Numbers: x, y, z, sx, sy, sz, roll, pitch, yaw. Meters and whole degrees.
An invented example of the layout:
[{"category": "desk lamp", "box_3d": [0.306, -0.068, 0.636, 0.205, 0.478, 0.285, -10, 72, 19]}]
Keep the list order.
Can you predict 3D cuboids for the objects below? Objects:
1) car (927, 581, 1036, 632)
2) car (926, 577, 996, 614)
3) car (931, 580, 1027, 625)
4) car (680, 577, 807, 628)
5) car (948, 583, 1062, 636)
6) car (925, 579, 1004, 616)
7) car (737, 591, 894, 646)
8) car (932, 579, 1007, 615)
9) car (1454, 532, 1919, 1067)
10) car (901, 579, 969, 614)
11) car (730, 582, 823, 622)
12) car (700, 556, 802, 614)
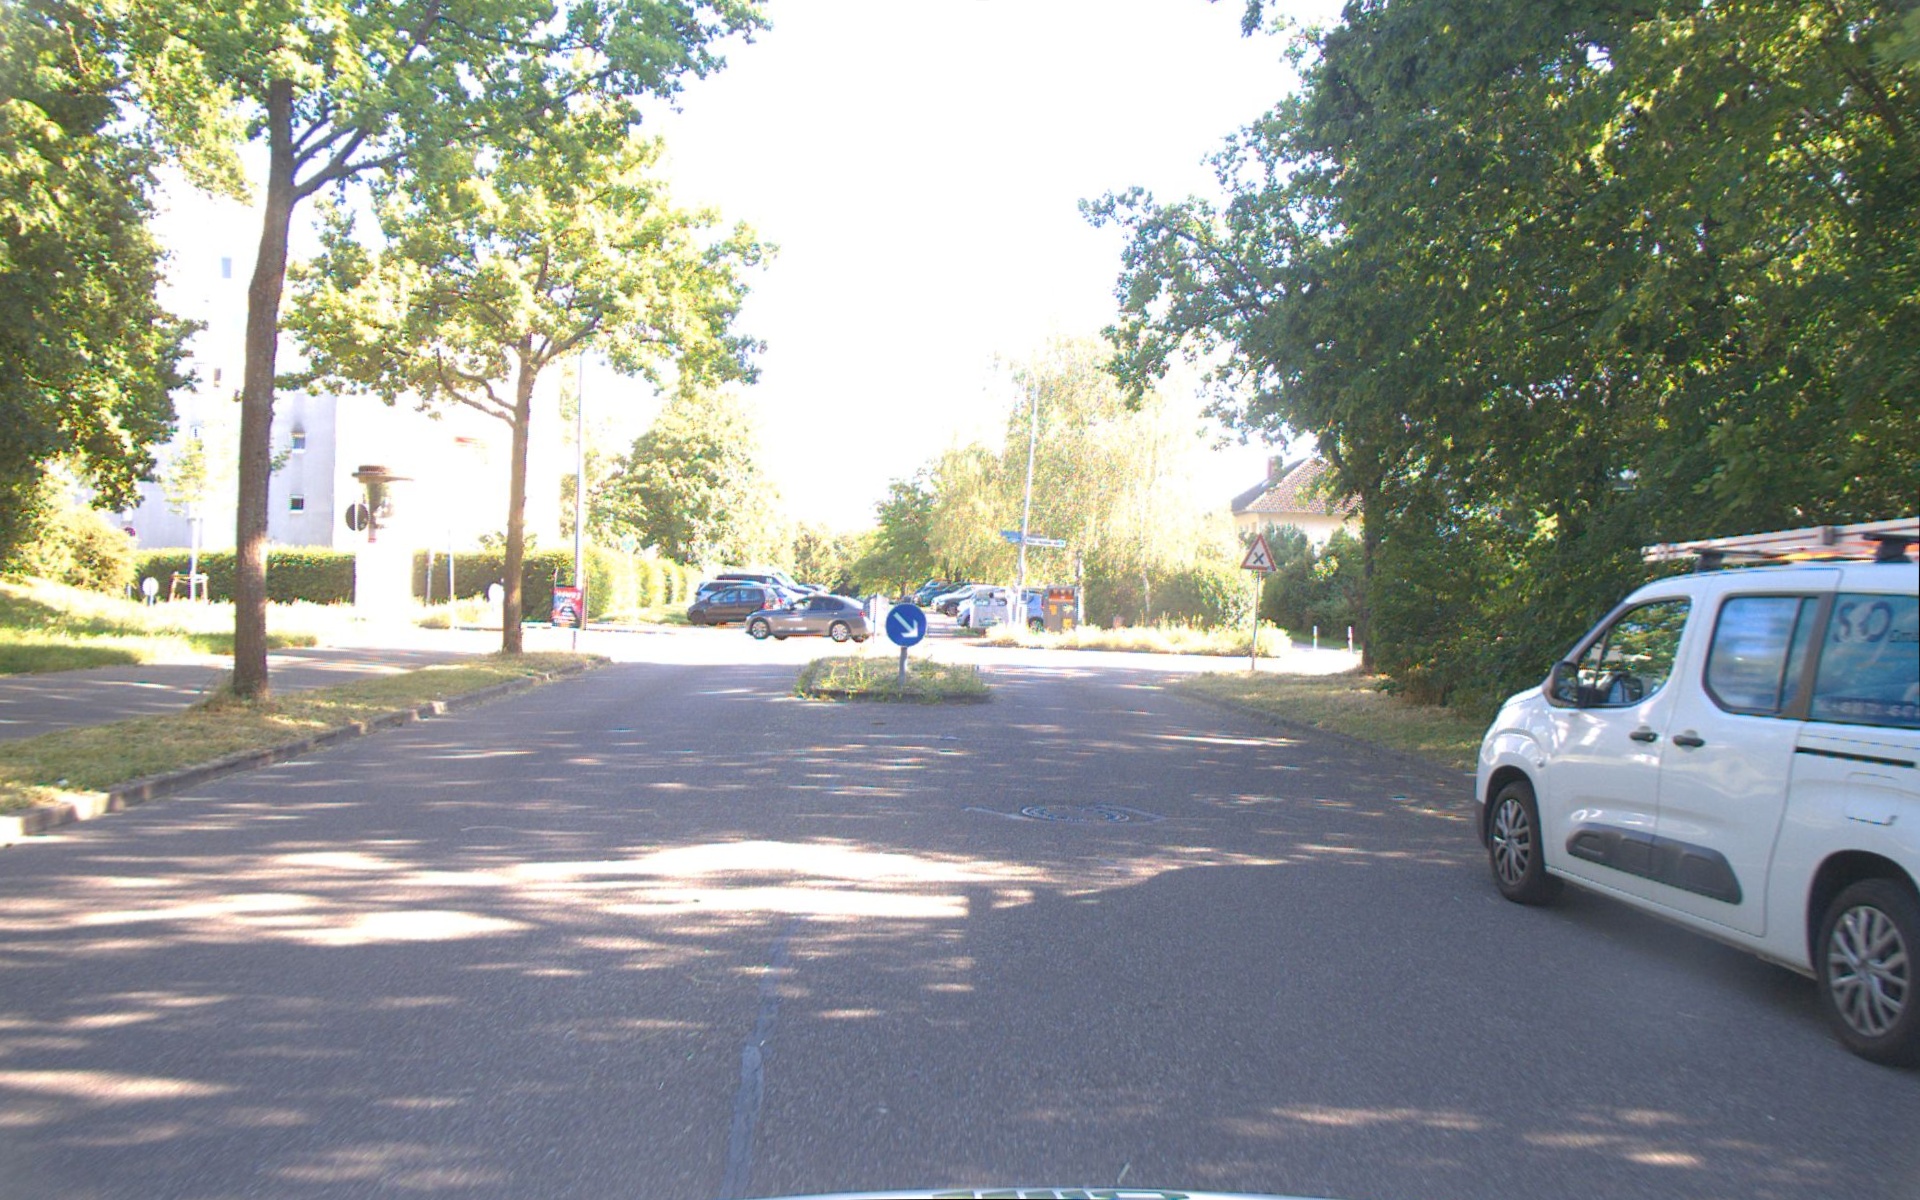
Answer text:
[{"category": "car", "box_3d": [0.785, 0.225, 59.451, 3.758, 1.604, 1.689, 3, 0, 4]}, {"category": "car", "box_3d": [0.069, -0.230, 91.382, 3.759, 1.827, 1.689, 3, 0, 2]}, {"category": "car", "box_3d": [0.795, 0.094, 67.263, 3.758, 1.604, 1.689, 3, 0, 4]}, {"category": "car", "box_3d": [-7.922, 0.091, 60.696, 4.228, 1.604, 2.047, 3, 0, 4]}, {"category": "car", "box_3d": [1.560, 0.326, 56.665, 3.758, 1.604, 1.689, 3, 0, 4]}, {"category": "car", "box_3d": [0.250, -0.115, 82.052, 3.758, 1.604, 1.689, 3, 0, 4]}, {"category": "car", "box_3d": [-4.571, 0.576, 52.351, 4.447, 1.459, 2.047, 3, 0, 17]}, {"category": "car", "box_3d": [0.509, -0.161, 85.198, 3.759, 1.604, 1.689, 3, 0, 2]}, {"category": "car", "box_3d": [3.988, 0.700, 7.349, 1.756, 1.816, 4.551, 3, 0, -6]}, {"category": "car", "box_3d": [-1.432, -0.191, 96.245, 3.759, 1.827, 1.689, 3, 0, 2]}, {"category": "car", "box_3d": [-8.515, 0.091, 76.984, 4.023, 1.604, 1.958, 3, 0, -1]}, {"category": "car", "box_3d": [-10.829, -0.775, 85.814, 5.102, 2.666, 2.290, 3, 0, -8]}]
